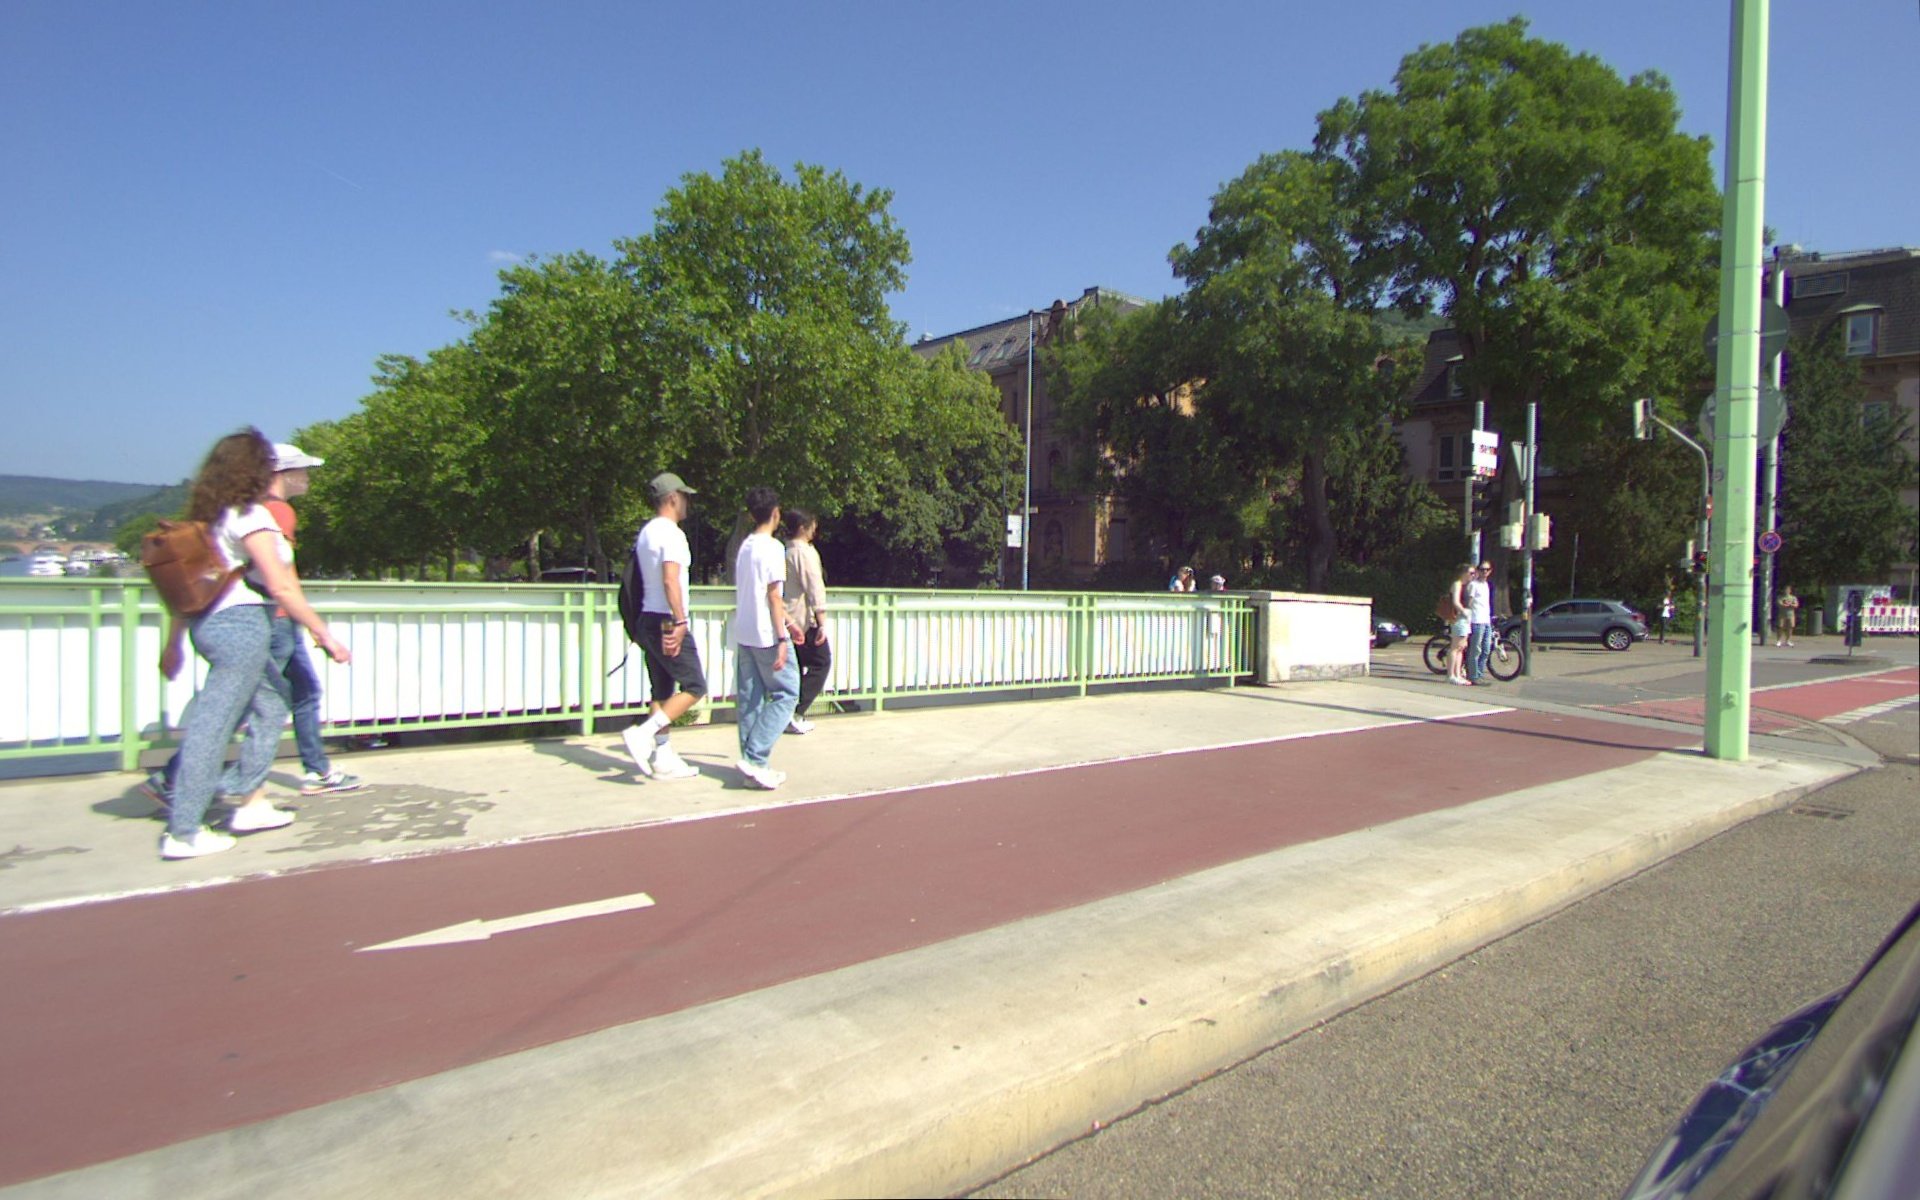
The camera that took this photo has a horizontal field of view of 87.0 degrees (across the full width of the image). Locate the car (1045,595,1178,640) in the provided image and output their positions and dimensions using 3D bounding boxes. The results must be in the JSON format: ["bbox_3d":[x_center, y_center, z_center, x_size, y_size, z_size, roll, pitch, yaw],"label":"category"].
[{"bbox_3d":[5.370,0.581,36.205,4.469,1.397,1.819,2,1,42],"label":"car"}]

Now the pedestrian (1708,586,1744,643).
[{"bbox_3d":[24.095,0.456,31.821,0.877,1.731,0.675,0,3,-42],"label":"pedestrian"}]

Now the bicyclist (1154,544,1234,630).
[{"bbox_3d":[4.232,-0.232,18.339,0.909,1.492,1.084,1,0,-32],"label":"bicyclist"}]

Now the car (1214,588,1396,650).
[{"bbox_3d":[9.600,0.467,28.364,4.469,1.525,1.819,2,1,42],"label":"car"}]

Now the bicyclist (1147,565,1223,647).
[{"bbox_3d":[4.274,0.103,19.287,0.909,1.492,1.084,1,0,-30],"label":"bicyclist"}]

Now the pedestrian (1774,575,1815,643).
[{"bbox_3d":[25.941,0.262,31.448,1.042,2.038,0.776,0,3,-43],"label":"pedestrian"}]

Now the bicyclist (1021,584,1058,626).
[{"bbox_3d":[3.361,0.206,42.755,1.083,1.699,1.155,1,0,39],"label":"bicyclist"}]

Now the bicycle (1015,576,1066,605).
[{"bbox_3d":[3.411,-0.422,43.156,2.240,1.179,0.608,3,2,41],"label":"bicycle"}]

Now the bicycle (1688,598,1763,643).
[{"bbox_3d":[24.244,0.640,32.062,2.227,1.219,0.805,-3,5,-21],"label":"bicycle"}]

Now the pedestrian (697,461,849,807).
[{"bbox_3d":[-1.062,0.164,5.741,0.635,1.821,0.549,-1,2,-44],"label":"pedestrian"}]

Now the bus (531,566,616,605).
[{"bbox_3d":[-30.561,-1.213,79.847,3.058,2.817,8.833,-1,3,-44],"label":"bus"}]

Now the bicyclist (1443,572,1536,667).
[{"bbox_3d":[8.586,0.296,16.426,0.785,1.492,1.084,1,0,-34],"label":"bicyclist"}]

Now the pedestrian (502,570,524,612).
[{"bbox_3d":[-19.602,-0.396,44.365,0.665,1.797,0.741,1,0,-44],"label":"pedestrian"}]

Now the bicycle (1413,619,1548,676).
[{"bbox_3d":[8.469,0.750,16.544,0.554,0.837,1.946,1,0,-33],"label":"bicycle"}]

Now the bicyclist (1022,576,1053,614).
[{"bbox_3d":[3.319,-0.224,43.234,1.056,1.573,0.765,3,2,42],"label":"bicyclist"}]

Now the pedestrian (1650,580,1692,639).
[{"bbox_3d":[22.987,0.301,32.707,1.054,1.802,0.693,2,5,38],"label":"pedestrian"}]

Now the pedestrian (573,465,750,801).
[{"bbox_3d":[-1.695,0.154,5.739,0.720,1.737,0.696,-1,2,-44],"label":"pedestrian"}]

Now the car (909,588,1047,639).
[{"bbox_3d":[0.525,0.405,33.165,4.472,1.466,1.818,2,1,44],"label":"car"}]

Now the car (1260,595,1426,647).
[{"bbox_3d":[11.407,0.582,30.328,1.852,1.374,4.305,1,1,-45],"label":"car"}]

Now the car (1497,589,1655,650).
[{"bbox_3d":[18.719,0.545,30.976,3.958,1.534,1.917,4,3,29],"label":"car"}]

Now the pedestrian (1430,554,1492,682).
[{"bbox_3d":[7.136,0.246,14.406,0.566,1.782,0.536,2,0,-35],"label":"pedestrian"}]

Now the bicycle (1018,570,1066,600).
[{"bbox_3d":[3.477,-0.646,42.900,1.994,1.241,0.707,1,0,40],"label":"bicycle"}]

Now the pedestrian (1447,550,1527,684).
[{"bbox_3d":[7.625,0.232,14.653,0.632,1.878,0.776,1,1,-35],"label":"pedestrian"}]

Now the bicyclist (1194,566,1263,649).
[{"bbox_3d":[4.985,0.129,18.843,0.746,1.492,1.086,1,0,-18],"label":"bicyclist"}]

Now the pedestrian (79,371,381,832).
[{"bbox_3d":[-3.076,-0.017,4.258,0.906,1.635,0.986,-1,2,-44],"label":"pedestrian"}]

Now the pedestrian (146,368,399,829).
[{"bbox_3d":[-3.456,-0.025,5.096,0.939,2.038,0.804,-1,2,-44],"label":"pedestrian"}]

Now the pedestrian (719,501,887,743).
[{"bbox_3d":[-1.172,0.130,7.529,0.933,1.655,0.801,0,2,-40],"label":"pedestrian"}]
